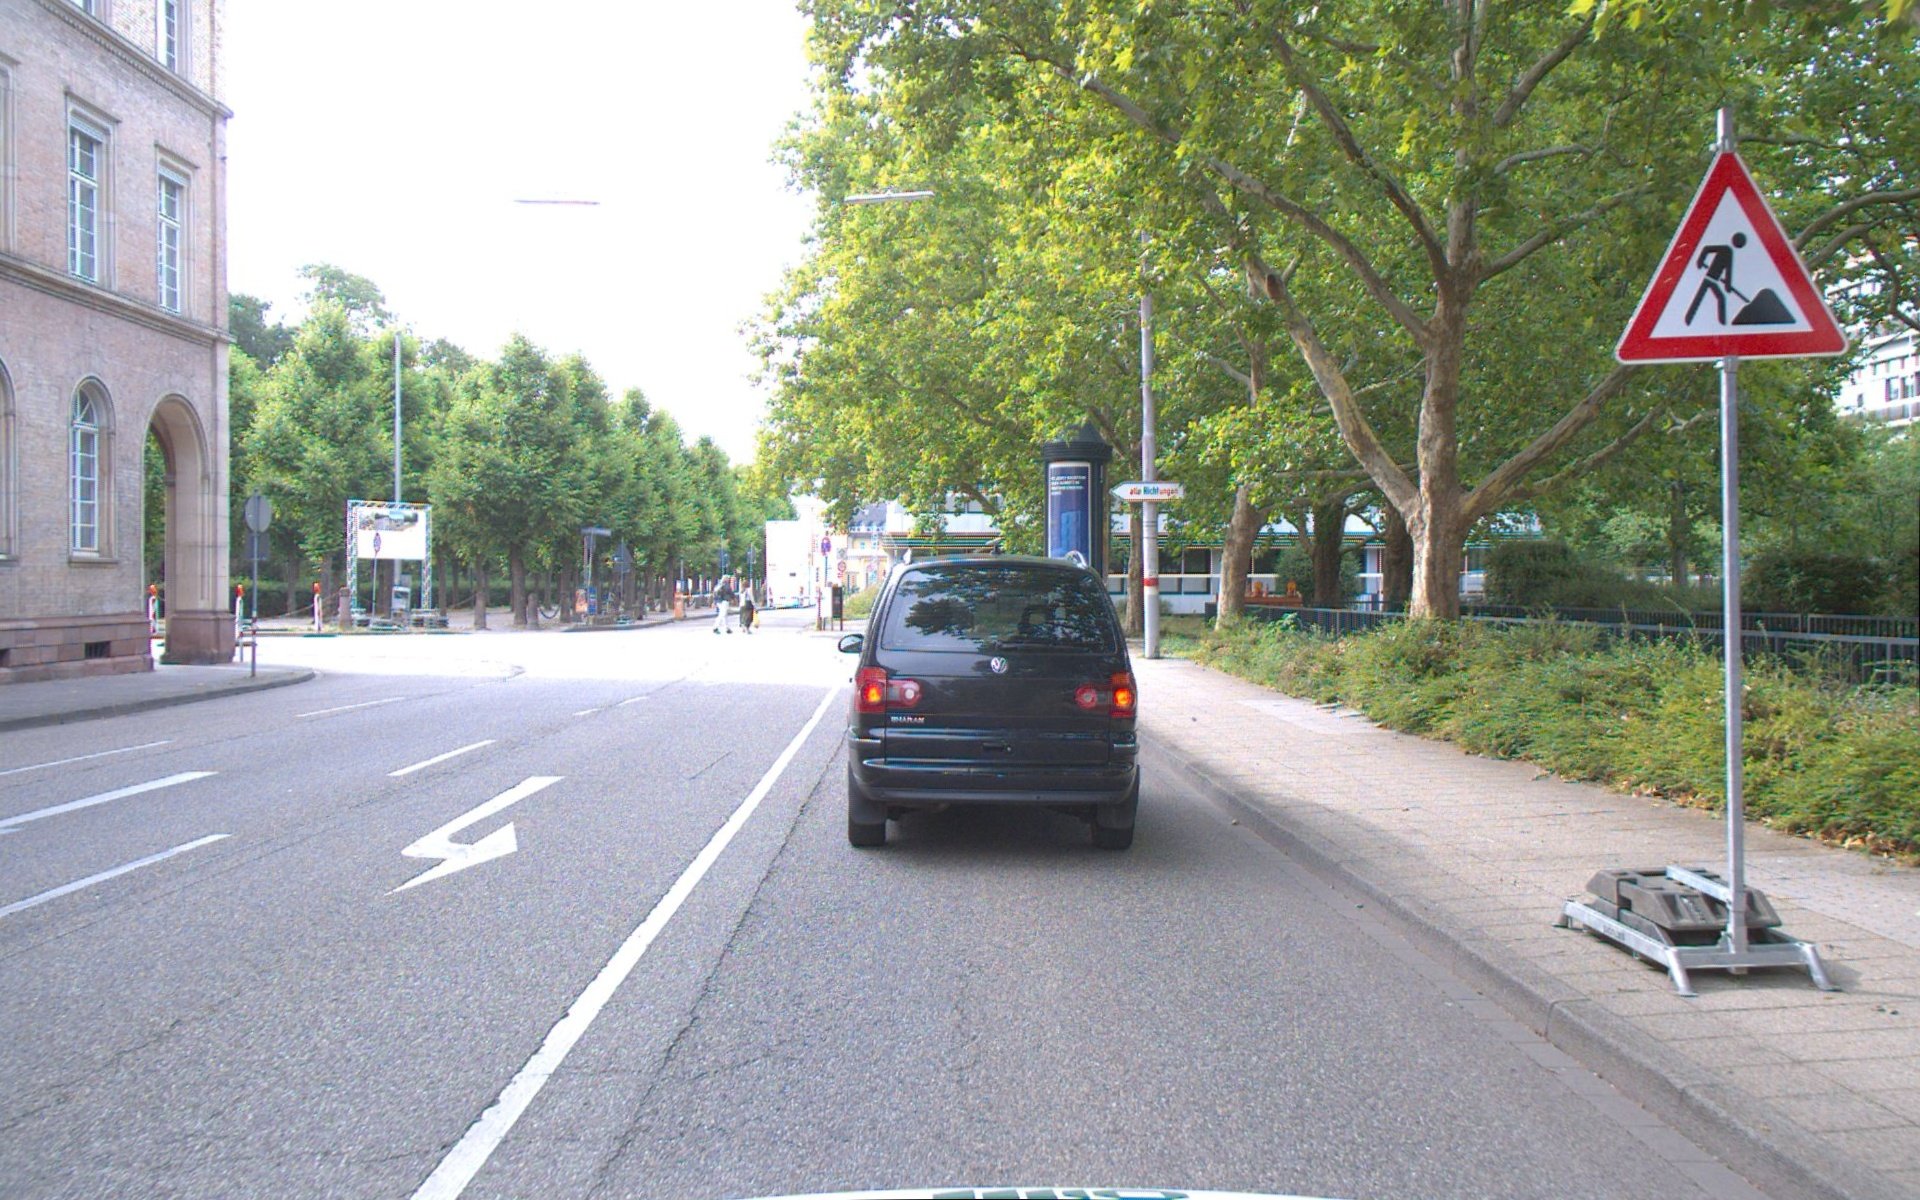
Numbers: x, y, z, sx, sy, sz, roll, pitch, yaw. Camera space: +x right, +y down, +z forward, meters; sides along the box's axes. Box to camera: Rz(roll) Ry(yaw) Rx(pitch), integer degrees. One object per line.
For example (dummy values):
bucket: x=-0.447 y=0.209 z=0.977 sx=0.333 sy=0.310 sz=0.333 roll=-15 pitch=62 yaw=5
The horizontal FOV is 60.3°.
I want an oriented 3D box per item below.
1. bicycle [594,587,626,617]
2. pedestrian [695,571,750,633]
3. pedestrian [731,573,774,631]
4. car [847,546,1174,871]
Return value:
bicycle: x=-13.946 y=0.075 z=65.812 sx=0.937 sy=1.129 sz=2.566 roll=1 pitch=1 yaw=-19
pedestrian: x=-6.963 y=0.053 z=48.539 sx=0.944 sy=1.772 sz=1.250 roll=2 pitch=1 yaw=37
pedestrian: x=-6.042 y=0.053 z=48.237 sx=0.880 sy=1.670 sz=0.850 roll=2 pitch=1 yaw=34
car: x=0.212 y=0.552 z=10.992 sx=1.757 sy=1.738 sz=4.130 roll=0 pitch=1 yaw=-2
